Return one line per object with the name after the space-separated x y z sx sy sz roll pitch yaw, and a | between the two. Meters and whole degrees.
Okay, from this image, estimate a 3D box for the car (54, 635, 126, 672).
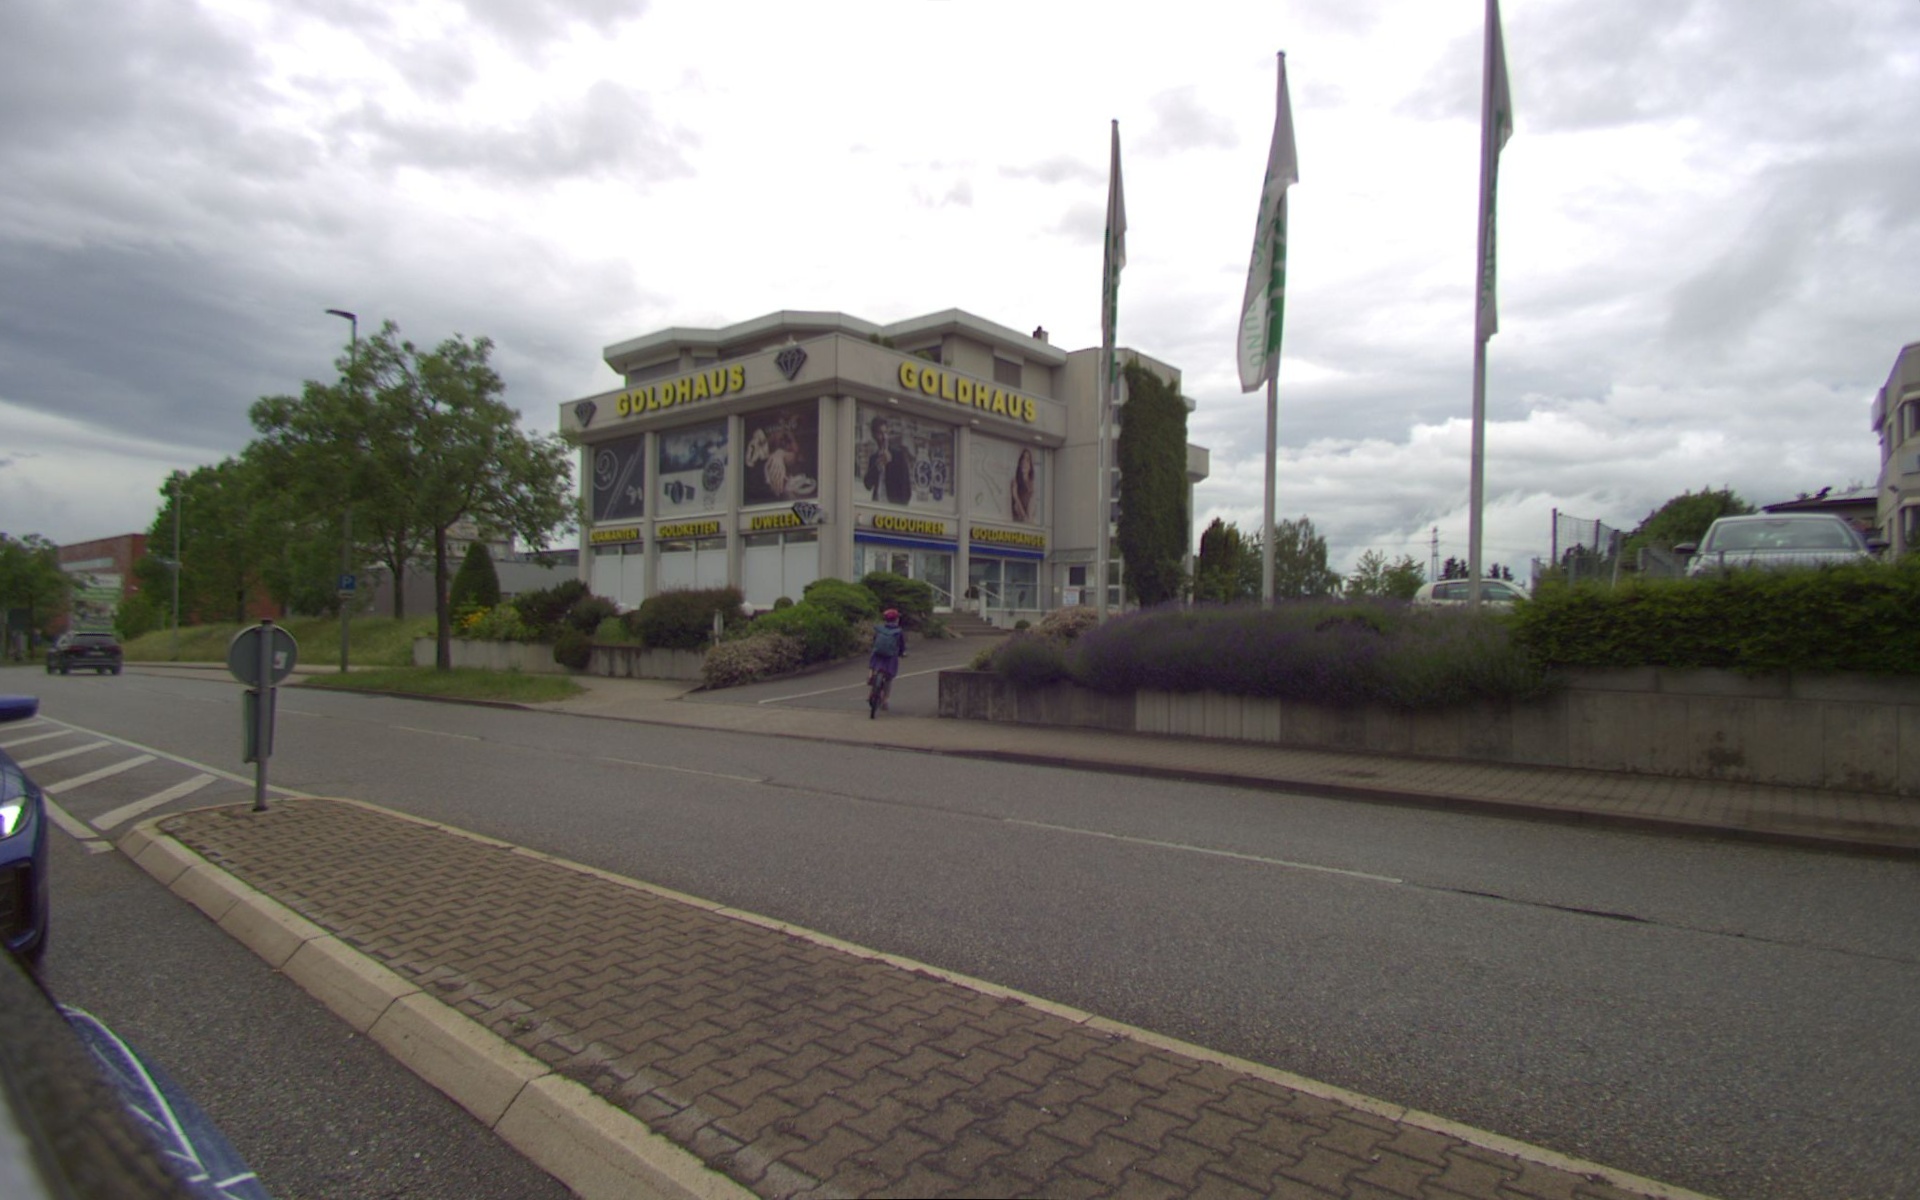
-47.109 2.916 54.783 4.541 1.905 2.320 -4 -4 41 | car

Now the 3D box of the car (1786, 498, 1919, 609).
14.071 -0.642 16.006 1.452 1.484 3.353 -2 -2 38 | car

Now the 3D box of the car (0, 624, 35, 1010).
-5.918 0.855 4.722 4.593 1.468 1.762 -1 -1 40 | car

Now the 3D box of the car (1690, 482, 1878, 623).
9.446 -0.423 11.555 1.454 1.347 3.350 -2 -2 42 | car

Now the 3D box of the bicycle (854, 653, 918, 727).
-1.207 1.402 16.206 0.896 0.820 2.296 -4 3 -5 | bicycle

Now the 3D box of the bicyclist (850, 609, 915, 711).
-1.243 0.935 16.195 0.896 1.453 1.029 -4 3 -5 | bicyclist

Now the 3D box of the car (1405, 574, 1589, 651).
11.970 0.313 22.652 3.384 1.609 1.511 -2 -2 41 | car

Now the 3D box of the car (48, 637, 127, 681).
-34.084 2.308 39.515 4.001 1.608 1.971 -4 -4 44 | car
